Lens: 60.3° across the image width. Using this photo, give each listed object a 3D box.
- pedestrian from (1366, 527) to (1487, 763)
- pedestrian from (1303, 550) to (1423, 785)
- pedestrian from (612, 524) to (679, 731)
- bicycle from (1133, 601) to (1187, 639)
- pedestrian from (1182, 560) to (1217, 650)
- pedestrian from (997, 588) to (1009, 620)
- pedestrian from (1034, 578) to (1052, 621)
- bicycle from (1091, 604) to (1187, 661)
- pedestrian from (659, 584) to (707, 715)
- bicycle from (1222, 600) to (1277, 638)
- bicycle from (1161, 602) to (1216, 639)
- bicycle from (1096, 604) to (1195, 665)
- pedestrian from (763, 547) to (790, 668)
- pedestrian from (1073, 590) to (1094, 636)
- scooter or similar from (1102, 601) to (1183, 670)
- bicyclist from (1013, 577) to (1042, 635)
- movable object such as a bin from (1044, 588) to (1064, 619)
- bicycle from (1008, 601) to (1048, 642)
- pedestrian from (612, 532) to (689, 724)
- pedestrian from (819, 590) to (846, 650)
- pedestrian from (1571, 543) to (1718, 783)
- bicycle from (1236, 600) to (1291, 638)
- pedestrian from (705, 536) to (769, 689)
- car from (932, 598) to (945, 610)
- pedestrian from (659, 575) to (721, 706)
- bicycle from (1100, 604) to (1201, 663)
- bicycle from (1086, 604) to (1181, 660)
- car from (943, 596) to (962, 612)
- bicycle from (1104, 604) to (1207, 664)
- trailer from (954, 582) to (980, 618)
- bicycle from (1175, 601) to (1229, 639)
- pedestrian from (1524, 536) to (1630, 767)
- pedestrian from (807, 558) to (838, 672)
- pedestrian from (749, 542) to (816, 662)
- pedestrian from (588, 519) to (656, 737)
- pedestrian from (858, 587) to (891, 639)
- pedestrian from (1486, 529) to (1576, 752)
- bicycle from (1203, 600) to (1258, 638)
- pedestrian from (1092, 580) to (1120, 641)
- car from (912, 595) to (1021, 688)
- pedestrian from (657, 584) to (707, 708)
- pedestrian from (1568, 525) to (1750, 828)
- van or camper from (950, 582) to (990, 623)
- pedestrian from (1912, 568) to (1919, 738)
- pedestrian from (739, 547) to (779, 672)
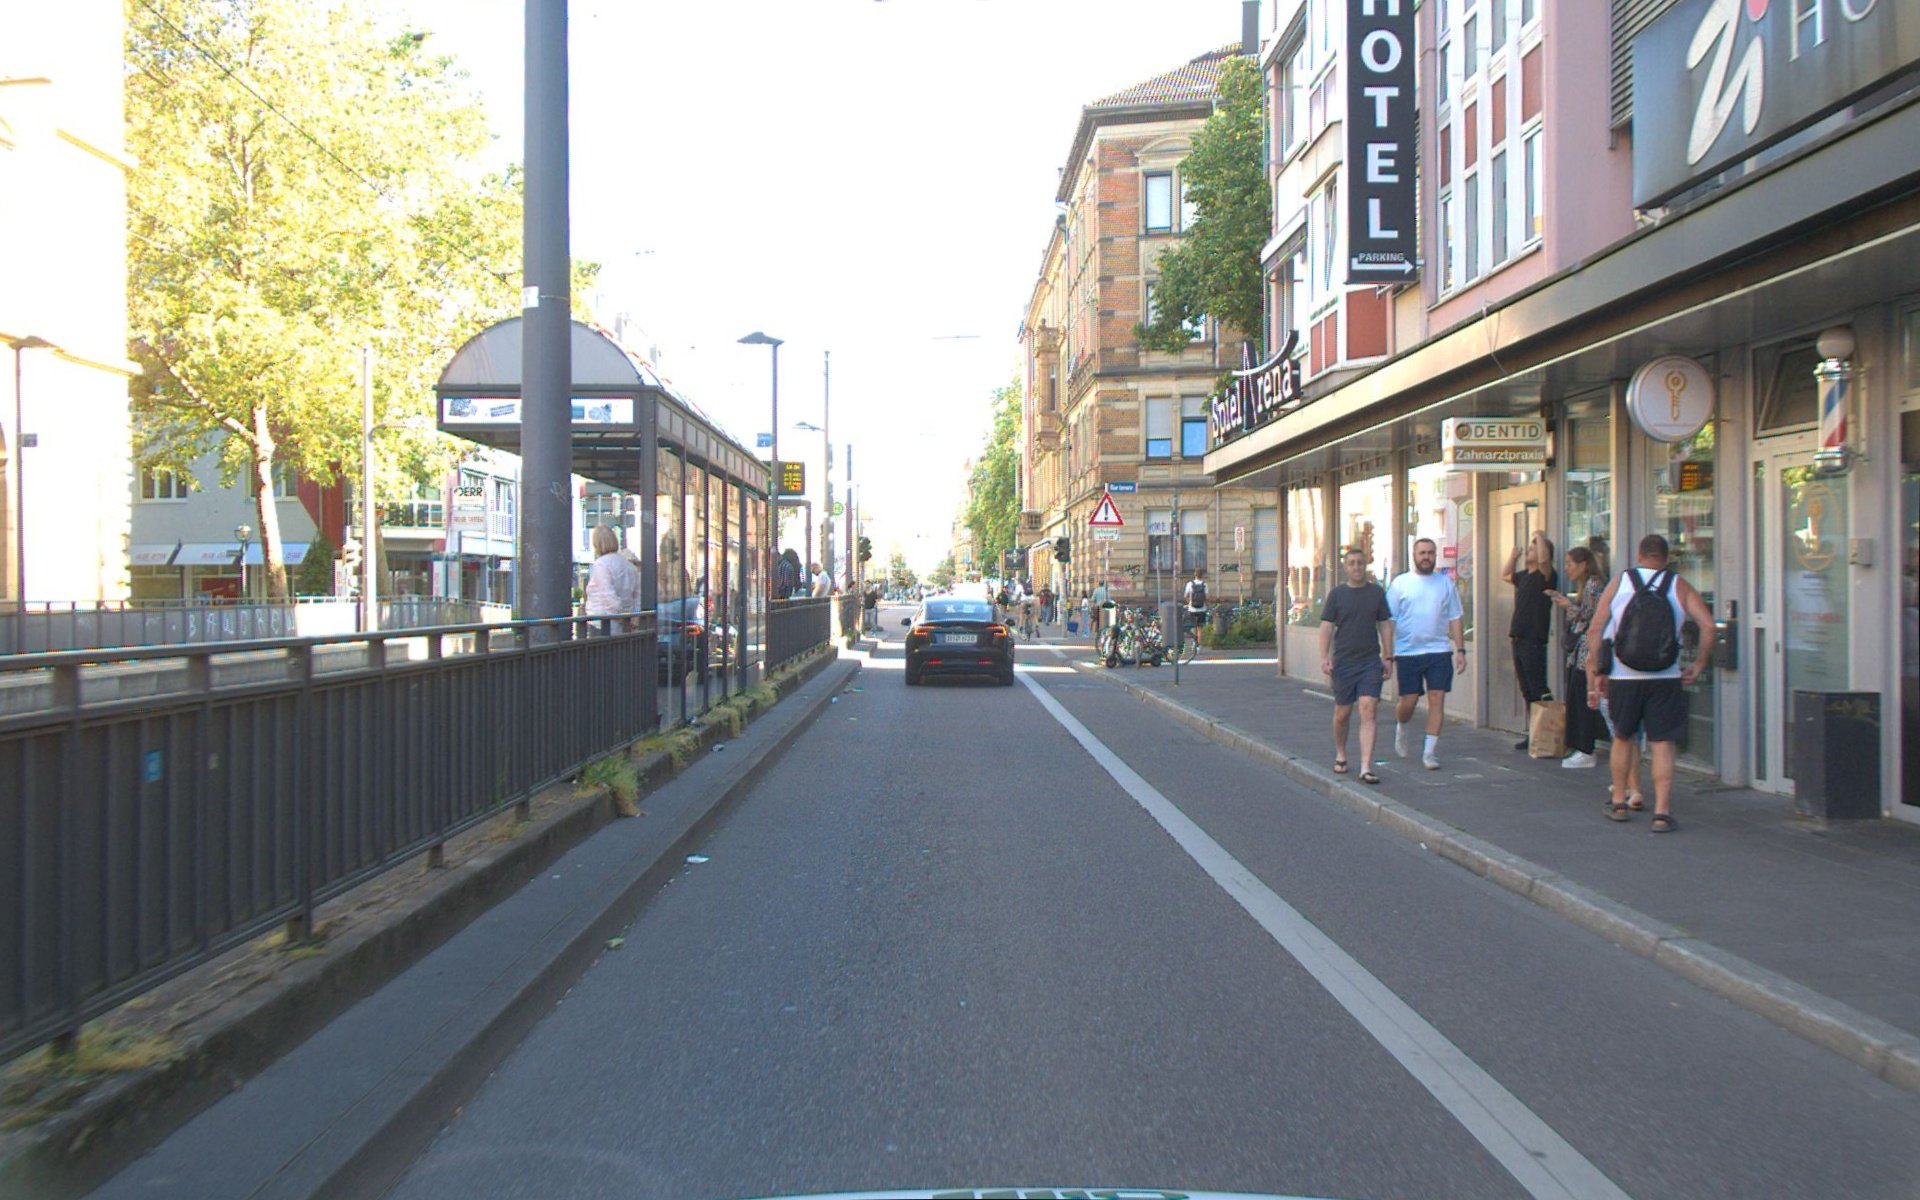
[{"bbox_3d":[3.829,0.356,13.627,0.691,1.852,0.763,-3,0,-1],"label":"pedestrian"},{"bbox_3d":[3.157,0.512,13.017,0.654,1.759,0.810,-3,0,-2],"label":"pedestrian"},{"bbox_3d":[-2.486,0.213,13.099,0.415,1.601,0.592,0,0,-1],"label":"pedestrian"},{"bbox_3d":[6.038,0.597,50.001,0.440,1.134,1.787,0,0,-41],"label":"bicycle"},{"bbox_3d":[5.601,0.131,38.714,0.701,2.020,0.943,1,-4,3],"label":"pedestrian"},{"bbox_3d":[2.433,0.232,93.776,0.659,1.846,0.755,0,-1,-2],"label":"pedestrian"},{"bbox_3d":[3.410,-0.014,68.010,0.461,1.759,0.586,0,1,35],"label":"pedestrian"},{"bbox_3d":[3.696,0.665,34.205,1.907,1.126,0.564,-1,0,-3],"label":"bicycle"},{"bbox_3d":[-2.518,0.445,15.049,0.358,1.172,0.460,1,0,-2],"label":"pedestrian"},{"bbox_3d":[8.840,0.573,50.588,0.440,1.134,1.787,0,0,-41],"label":"bicycle"},{"bbox_3d":[6.951,0.616,50.389,0.440,1.134,1.787,0,0,-41],"label":"bicycle"},{"bbox_3d":[3.740,0.688,33.446,1.907,1.186,0.627,-1,0,-3],"label":"bicycle"},{"bbox_3d":[-2.599,0.103,23.479,0.344,1.698,0.529,0,0,-2],"label":"pedestrian"},{"bbox_3d":[3.911,0.406,52.519,0.562,1.439,0.581,1,0,12],"label":"pedestrian"},{"bbox_3d":[3.469,0.674,31.515,1.448,1.250,0.591,-2,0,-1],"label":"scooter or similar"},{"bbox_3d":[1.974,0.184,48.542,0.643,1.684,0.924,0,0,-13],"label":"bicyclist"},{"bbox_3d":[4.278,0.163,75.196,0.760,1.371,1.299,0,0,-3],"label":"movable object such as a bin"},{"bbox_3d":[1.989,0.622,48.475,0.636,1.159,2.088,1,0,-13],"label":"bicycle"},{"bbox_3d":[-2.632,0.233,14.085,0.538,1.600,0.317,1,-1,-39],"label":"pedestrian"},{"bbox_3d":[-2.908,0.458,37.680,0.470,1.352,0.354,-1,0,28],"label":"pedestrian"},{"bbox_3d":[4.514,0.405,10.941,0.623,1.509,0.654,-3,0,-2],"label":"pedestrian"},{"bbox_3d":[9.310,0.583,50.831,0.440,1.134,1.787,0,0,-41],"label":"bicycle"},{"bbox_3d":[-2.666,0.148,19.802,0.676,1.796,0.747,0,0,-3],"label":"pedestrian"},{"bbox_3d":[-2.674,0.540,209.227,1.561,1.458,3.686,-1,0,0],"label":"car"},{"bbox_3d":[-2.684,0.395,16.447,0.529,1.274,0.460,1,0,-2],"label":"pedestrian"},{"bbox_3d":[3.770,0.658,32.792,1.907,1.126,0.564,-1,0,-3],"label":"bicycle"},{"bbox_3d":[3.654,0.667,34.852,1.907,1.126,0.564,-1,0,-3],"label":"bicycle"},{"bbox_3d":[-0.747,0.429,158.855,1.676,1.482,4.549,1,0,-1],"label":"car"},{"bbox_3d":[3.794,0.653,32.179,1.907,1.126,0.564,-1,0,-3],"label":"bicycle"},{"bbox_3d":[0.452,0.008,105.243,1.627,2.154,3.842,1,0,0],"label":"trailer"},{"bbox_3d":[7.394,0.598,50.613,0.440,1.134,1.787,0,0,-41],"label":"bicycle"},{"bbox_3d":[4.927,0.400,13.226,0.616,1.800,0.500,-1,0,-1],"label":"pedestrian"},{"bbox_3d":[-2.625,0.284,31.635,0.527,2.157,0.807,0,0,-2],"label":"pedestrian"},{"bbox_3d":[-2.828,0.031,26.304,0.762,1.863,0.795,2,-1,-31],"label":"pedestrian"},{"bbox_3d":[-2.520,0.207,12.361,0.415,1.601,0.447,0,0,-1],"label":"pedestrian"},{"bbox_3d":[-2.623,0.393,50.829,0.824,1.576,0.699,0,0,14],"label":"pedestrian"},{"bbox_3d":[4.963,0.340,14.401,0.442,1.881,0.811,-1,0,-2],"label":"pedestrian"},{"bbox_3d":[8.240,0.569,50.394,0.440,1.134,1.787,0,0,-41],"label":"bicycle"},{"bbox_3d":[4.500,0.312,51.147,0.829,1.839,0.876,-1,1,4],"label":"pedestrian"},{"bbox_3d":[0.056,0.647,28.006,1.685,1.430,3.708,1,0,-2],"label":"car"},{"bbox_3d":[-2.678,0.437,15.952,0.400,1.172,0.460,1,0,-2],"label":"pedestrian"},{"bbox_3d":[4.233,0.446,10.066,0.729,1.757,0.814,1,0,-1],"label":"pedestrian"},{"bbox_3d":[0.494,0.137,87.833,1.892,2.072,5.473,1,-1,-2],"label":"van or camper"},{"bbox_3d":[4.873,0.580,7.427,0.723,1.498,0.707,-3,0,0],"label":"pedestrian"},{"bbox_3d":[-2.742,0.124,22.600,0.483,1.677,0.589,0,0,-3],"label":"pedestrian"}]
